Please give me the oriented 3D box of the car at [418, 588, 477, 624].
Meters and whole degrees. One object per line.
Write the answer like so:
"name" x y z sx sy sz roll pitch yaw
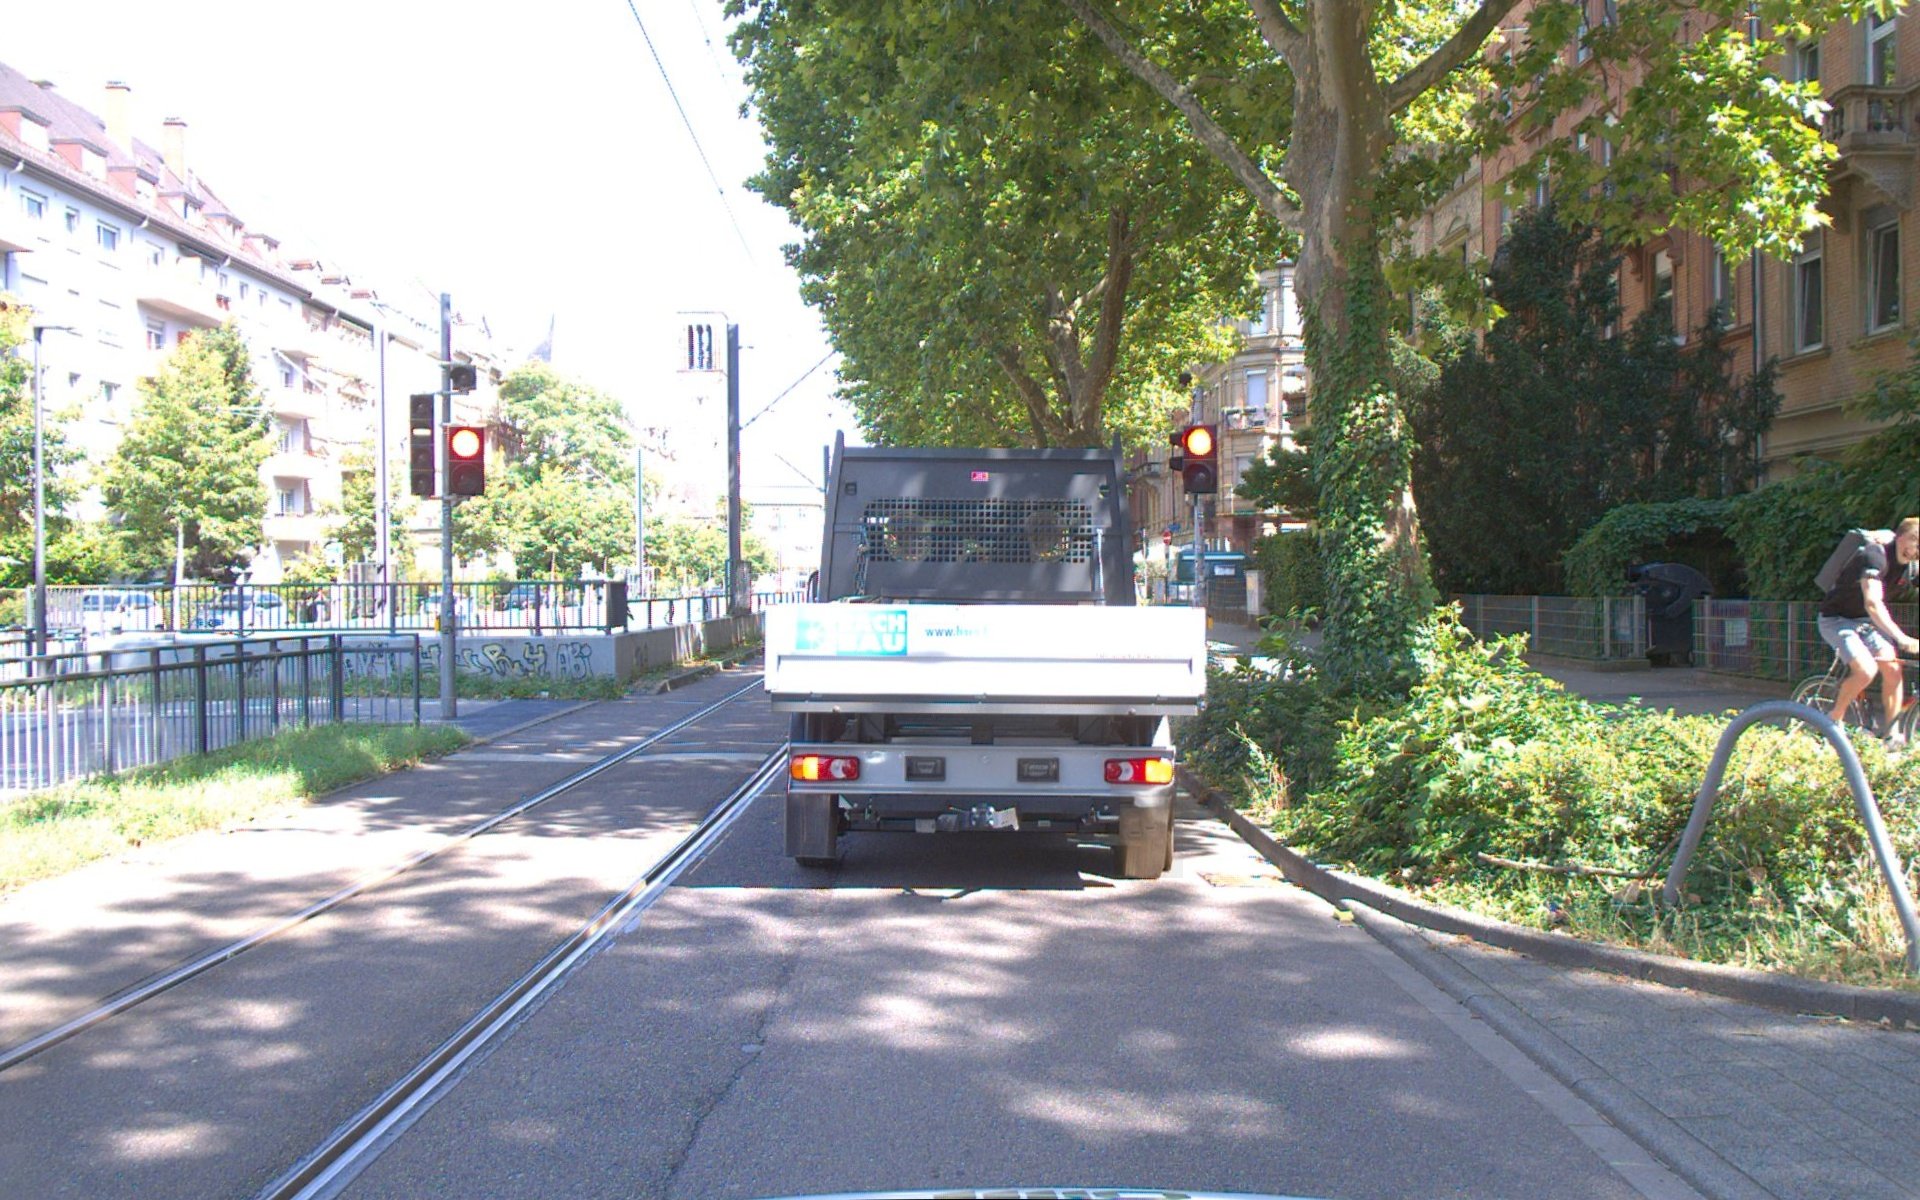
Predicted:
"car" -22.510 0.254 72.753 1.737 1.524 3.994 -1 1 -7

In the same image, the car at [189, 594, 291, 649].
"car" -22.197 0.635 51.119 1.737 1.524 3.994 -2 1 -6

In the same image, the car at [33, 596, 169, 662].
"car" -22.007 0.710 42.541 1.737 1.524 3.994 -2 1 -6

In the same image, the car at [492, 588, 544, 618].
"car" -22.993 0.137 86.109 1.735 1.524 3.998 -1 1 -2

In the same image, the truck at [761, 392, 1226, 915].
"truck" 0.153 0.220 9.691 2.094 2.359 4.401 0 1 0

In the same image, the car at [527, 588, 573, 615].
"car" -23.282 0.067 93.942 1.735 1.524 3.998 -1 1 -2

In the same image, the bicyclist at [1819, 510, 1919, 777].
"bicyclist" 6.049 0.261 10.638 0.611 1.651 0.693 -1 0 -11

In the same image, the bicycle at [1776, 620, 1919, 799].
"bicycle" 6.078 0.683 10.537 0.521 1.067 1.921 -1 0 -10
